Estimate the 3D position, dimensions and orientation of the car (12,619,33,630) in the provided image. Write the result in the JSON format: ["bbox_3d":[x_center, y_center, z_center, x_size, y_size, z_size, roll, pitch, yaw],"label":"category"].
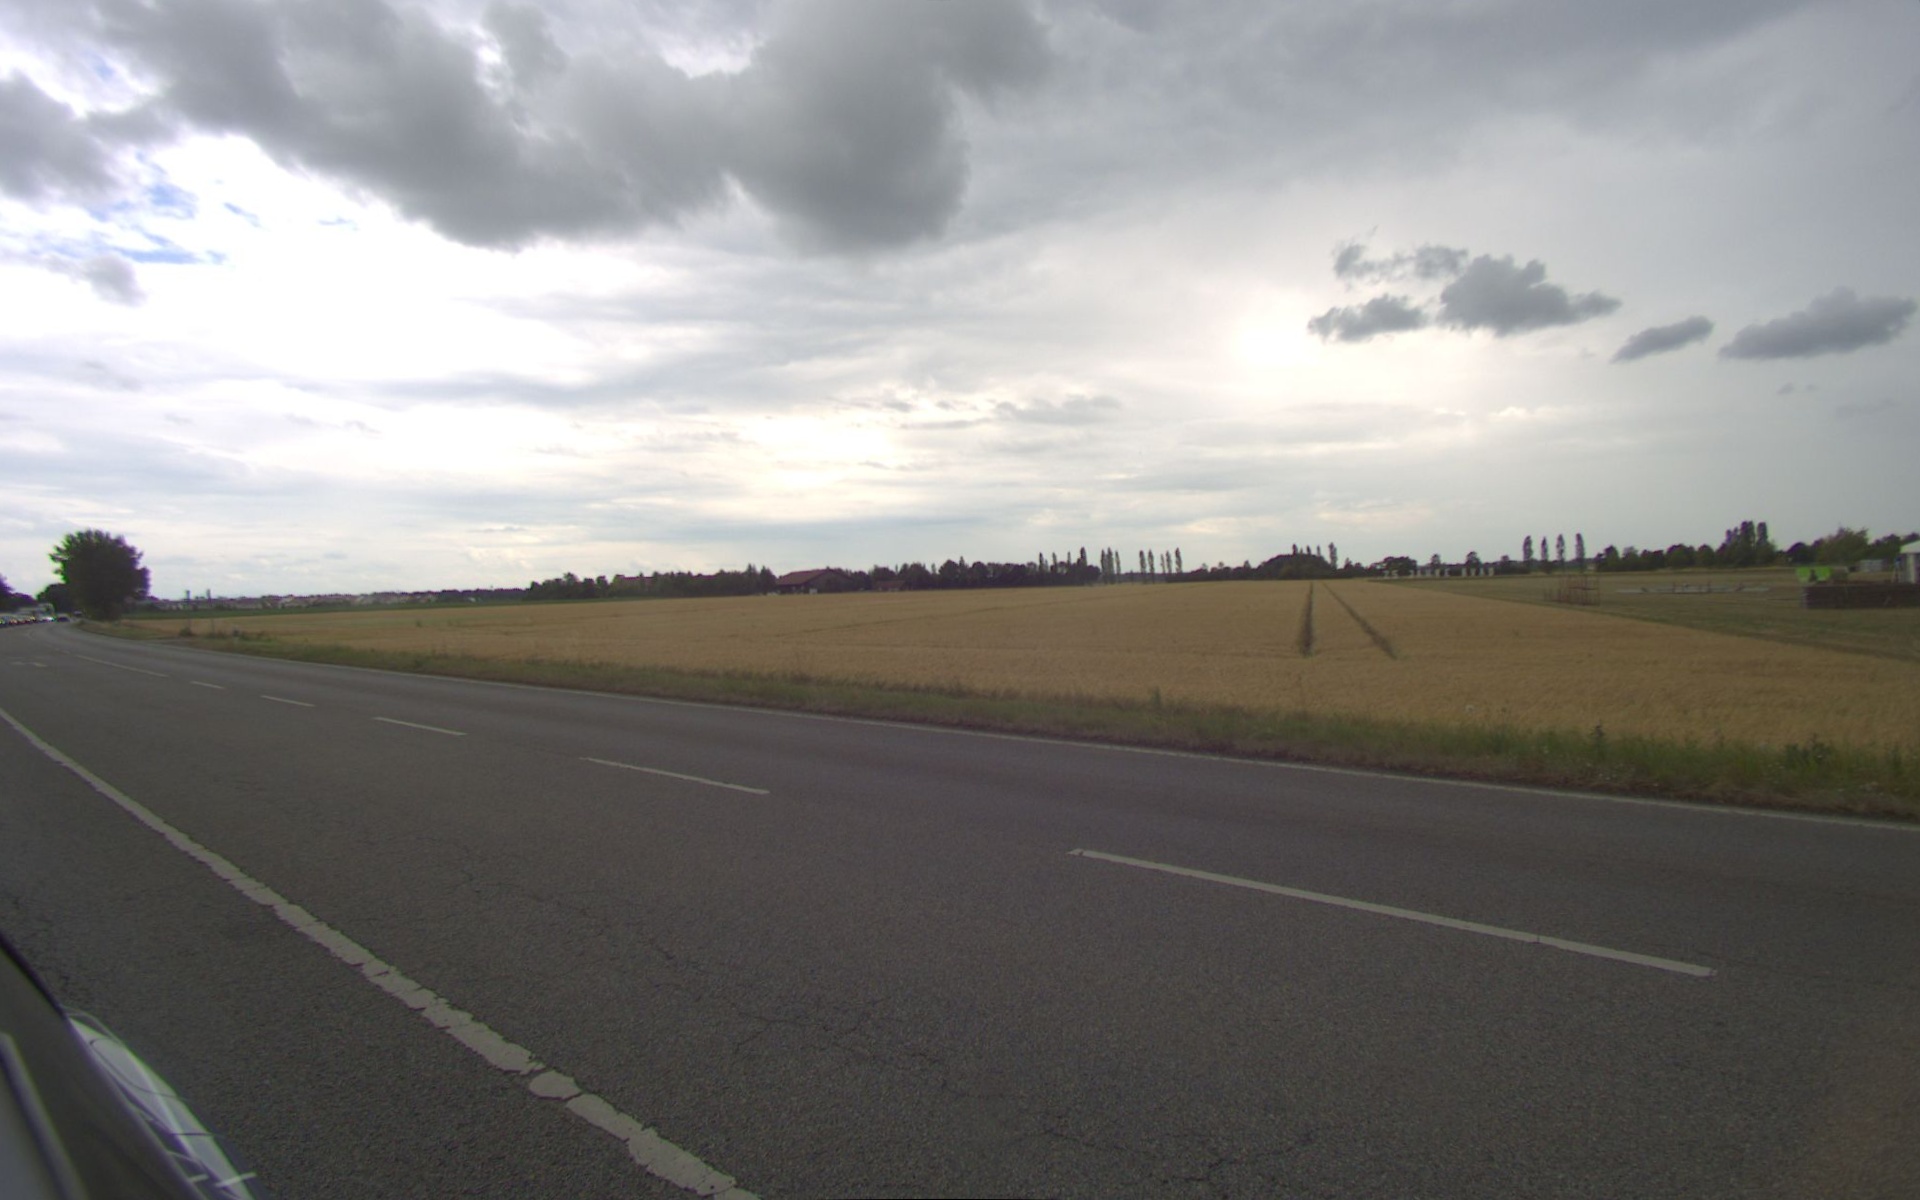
[{"bbox_3d":[-138.451,3.565,149.508,1.766,1.595,4.146,-1,0,-37],"label":"car"}]

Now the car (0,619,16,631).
[{"bbox_3d":[-125.930,3.275,133.448,1.766,1.595,4.145,-1,0,-37],"label":"car"}]

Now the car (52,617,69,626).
[{"bbox_3d":[-158.406,3.749,178.207,1.803,1.421,4.434,0,0,-36],"label":"car"}]

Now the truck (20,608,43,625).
[{"bbox_3d":[-160.660,2.905,175.082,2.284,2.786,7.688,-2,1,-38],"label":"truck"}]

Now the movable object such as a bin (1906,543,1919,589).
[{"bbox_3d":[68.354,-2.349,68.135,4.129,3.201,7.530,-1,1,21],"label":"movable object such as a bin"}]

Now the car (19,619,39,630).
[{"bbox_3d":[-143.819,3.793,156.414,1.765,1.551,4.146,-1,0,-36],"label":"car"}]
